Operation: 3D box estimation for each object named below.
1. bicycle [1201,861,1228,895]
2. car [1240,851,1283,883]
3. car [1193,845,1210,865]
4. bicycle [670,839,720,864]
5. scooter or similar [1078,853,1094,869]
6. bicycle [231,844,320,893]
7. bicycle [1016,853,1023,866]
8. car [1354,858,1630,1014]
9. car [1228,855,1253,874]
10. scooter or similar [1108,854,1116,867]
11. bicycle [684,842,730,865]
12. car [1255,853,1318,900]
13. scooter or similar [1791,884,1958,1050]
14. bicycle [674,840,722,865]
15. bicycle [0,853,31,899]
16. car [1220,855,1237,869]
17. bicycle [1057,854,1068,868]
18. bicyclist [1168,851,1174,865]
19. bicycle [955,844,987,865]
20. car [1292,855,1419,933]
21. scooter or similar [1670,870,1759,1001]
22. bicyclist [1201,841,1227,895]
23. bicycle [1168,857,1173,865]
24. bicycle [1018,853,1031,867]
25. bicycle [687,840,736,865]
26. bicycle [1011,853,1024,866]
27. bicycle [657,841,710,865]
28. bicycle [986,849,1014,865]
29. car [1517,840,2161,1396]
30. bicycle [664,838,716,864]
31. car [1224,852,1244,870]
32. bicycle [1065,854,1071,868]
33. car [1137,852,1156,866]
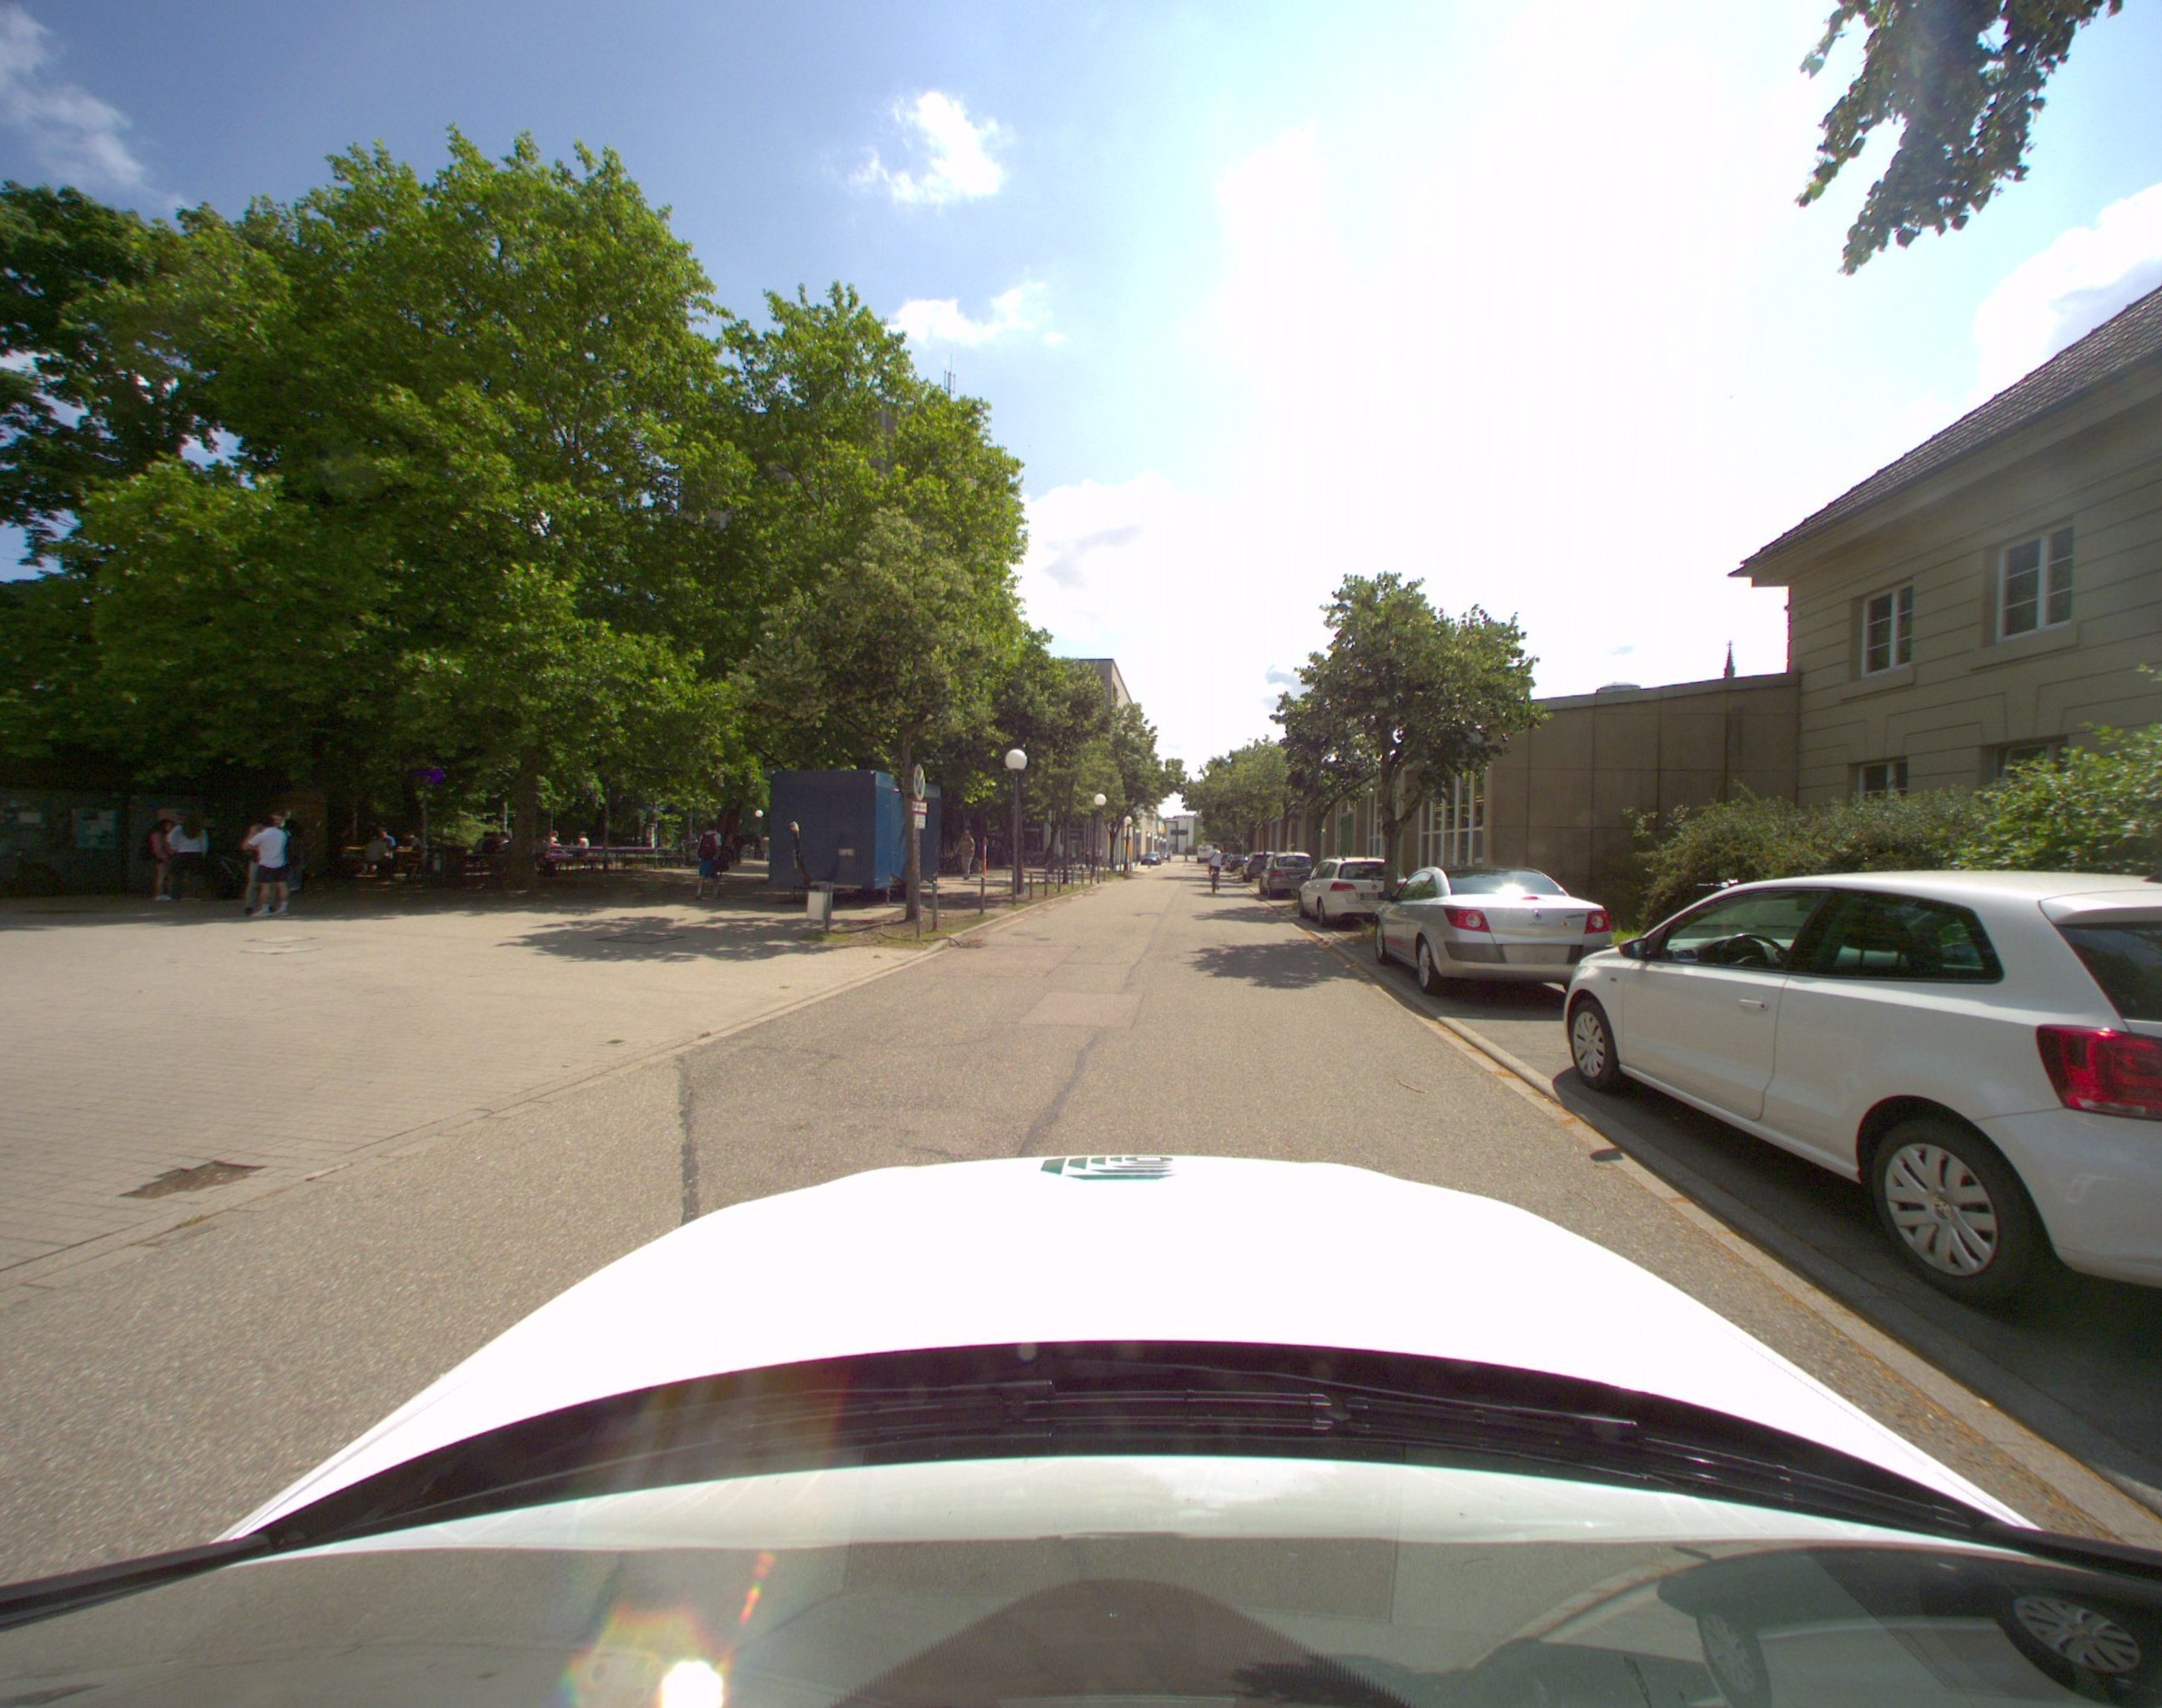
[{"bbox_3d":[5.136,0.901,31.532,0.877,1.199,2.755,2,0,7],"label":"bicycle"},{"bbox_3d":[9.867,0.692,44.794,1.813,1.664,4.592,0,-1,6],"label":"car"},{"bbox_3d":[16.670,0.125,112.738,2.072,2.539,4.325,3,0,8],"label":"car"},{"bbox_3d":[-17.857,-0.104,37.674,2.002,1.119,0.584,1,0,-1],"label":"bicycle"},{"bbox_3d":[0.397,0.500,61.132,0.336,1.175,1.336,2,0,43],"label":"scooter or similar"},{"bbox_3d":[-18.450,0.341,18.682,1.355,1.077,0.412,3,-2,-36],"label":"bicycle"},{"bbox_3d":[-4.736,0.427,63.118,0.474,0.965,1.655,2,0,-3],"label":"bicycle"},{"bbox_3d":[4.586,0.786,9.773,1.638,1.390,3.996,0,1,6],"label":"car"},{"bbox_3d":[13.322,0.842,68.239,1.771,1.476,4.472,0,0,8],"label":"car"},{"bbox_3d":[2.895,0.583,76.773,0.451,1.223,1.554,2,0,12],"label":"scooter or similar"},{"bbox_3d":[-18.718,-0.029,40.777,2.002,1.119,0.584,1,0,-1],"label":"bicycle"},{"bbox_3d":[7.390,0.749,29.635,1.695,1.574,4.148,0,0,7],"label":"car"},{"bbox_3d":[6.649,0.887,6.896,0.516,1.221,1.242,1,0,18],"label":"scooter or similar"},{"bbox_3d":[-18.415,-0.072,39.199,2.002,1.119,0.584,1,0,-1],"label":"bicycle"},{"bbox_3d":[-20.944,0.416,15.443,0.302,0.883,1.235,2,0,10],"label":"bicycle"},{"bbox_3d":[17.397,0.909,96.192,1.848,1.574,4.010,0,0,9],"label":"car"},{"bbox_3d":[-1.546,0.548,67.193,0.549,1.086,1.977,3,0,8],"label":"bicycle"},{"bbox_3d":[12.853,0.538,116.286,0.708,2.013,1.020,0,0,6],"label":"bicyclist"},{"bbox_3d":[-8.266,0.048,61.192,2.294,1.450,0.602,2,0,-25],"label":"bicycle"},{"bbox_3d":[5.884,0.766,18.005,1.716,1.467,4.680,1,0,6],"label":"car"},{"bbox_3d":[6.907,0.831,8.860,0.589,1.266,1.273,2,2,45],"label":"scooter or similar"},{"bbox_3d":[5.150,0.540,31.568,0.869,2.013,0.851,2,0,7],"label":"bicyclist"},{"bbox_3d":[12.843,0.939,116.226,0.681,1.130,1.892,1,0,6],"label":"bicycle"},{"bbox_3d":[-4.692,0.483,67.764,0.549,1.086,1.977,3,0,8],"label":"bicycle"},{"bbox_3d":[-17.438,-0.072,38.450,2.002,1.119,0.584,1,0,-1],"label":"bicycle"},{"bbox_3d":[-5.259,0.468,67.773,0.549,1.086,1.977,3,0,8],"label":"bicycle"},{"bbox_3d":[-17.522,-0.038,35.878,2.002,1.008,0.584,1,0,-1],"label":"bicycle"},{"bbox_3d":[-6.200,0.229,62.146,2.024,1.254,0.583,1,0,-25],"label":"bicycle"},{"bbox_3d":[3.859,0.734,4.041,1.579,1.466,3.995,1,0,6],"label":"car"},{"bbox_3d":[-17.680,-0.124,36.849,2.002,1.119,0.584,1,0,-1],"label":"bicycle"},{"bbox_3d":[13.845,0.587,73.977,1.607,1.538,3.788,2,0,8],"label":"car"},{"bbox_3d":[-0.977,0.513,60.772,0.381,1.025,1.812,2,0,-4],"label":"bicycle"},{"bbox_3d":[7.470,0.593,92.671,1.756,1.427,4.246,2,0,10],"label":"car"}]
